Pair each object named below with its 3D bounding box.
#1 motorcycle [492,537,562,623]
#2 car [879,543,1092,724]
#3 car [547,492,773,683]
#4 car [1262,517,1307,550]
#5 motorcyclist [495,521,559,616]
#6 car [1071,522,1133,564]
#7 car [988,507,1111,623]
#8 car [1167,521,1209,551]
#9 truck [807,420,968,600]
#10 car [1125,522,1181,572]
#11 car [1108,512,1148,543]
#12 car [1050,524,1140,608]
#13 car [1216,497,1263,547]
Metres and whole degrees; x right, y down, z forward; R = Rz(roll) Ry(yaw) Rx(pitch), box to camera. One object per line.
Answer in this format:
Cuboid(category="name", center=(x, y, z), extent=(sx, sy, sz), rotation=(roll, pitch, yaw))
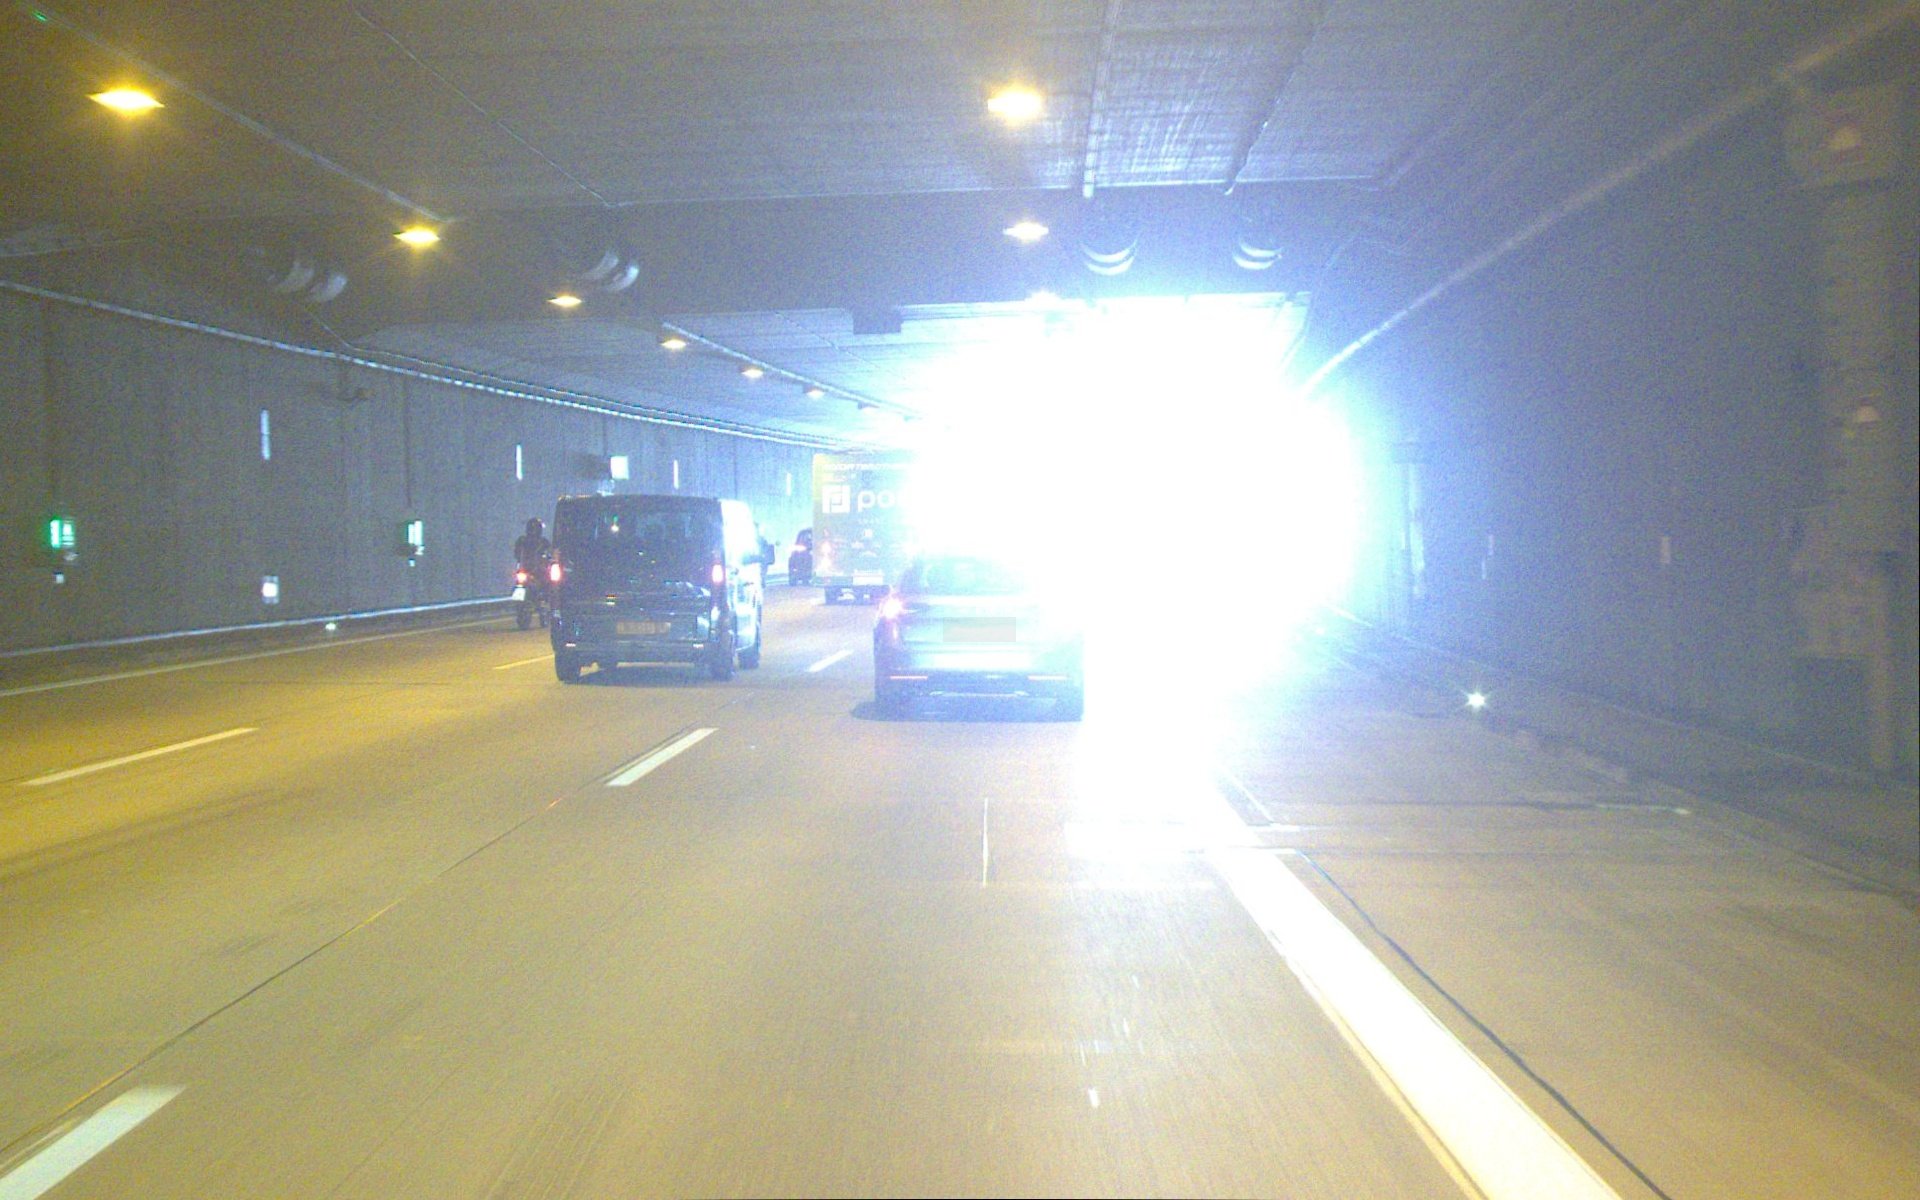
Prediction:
Cuboid(category="motorcycle", center=(-6.740, -0.302, 53.627), extent=(0.683, 1.292, 2.398), rotation=(0, -1, 3))
Cuboid(category="car", center=(0.241, 0.239, 30.170), extent=(1.742, 1.459, 3.871), rotation=(0, 1, 1))
Cuboid(category="car", center=(-3.170, -0.174, 37.011), extent=(1.910, 1.937, 3.871), rotation=(0, 1, 3))
Cuboid(category="car", center=(16.447, -3.341, 174.107), extent=(1.931, 1.637, 3.998), rotation=(0, 1, 10))
Cuboid(category="motorcyclist", center=(-6.748, -0.481, 53.611), extent=(0.777, 1.448, 1.068), rotation=(0, -1, 4))
Cuboid(category="car", center=(5.813, -2.315, 140.316), extent=(1.994, 1.626, 3.998), rotation=(0, 0, 10))
Cuboid(category="car", center=(1.519, -0.594, 56.995), extent=(1.857, 1.848, 4.000), rotation=(0, 1, 4))
Cuboid(category="car", center=(13.509, -3.786, 203.758), extent=(1.931, 1.637, 3.997), rotation=(0, -1, 12))
Cuboid(category="truck", center=(-1.478, -1.895, 74.004), extent=(3.039, 3.660, 7.392), rotation=(0, 1, 2))
Cuboid(category="car", center=(6.885, -1.863, 122.268), extent=(1.931, 1.637, 3.999), rotation=(0, -1, 4))
Cuboid(category="car", center=(9.246, -3.970, 188.980), extent=(1.931, 1.637, 3.999), rotation=(0, 1, 6))
Cuboid(category="car", center=(3.105, -0.751, 78.332), extent=(1.950, 1.766, 3.999), rotation=(0, -1, 3))
Cuboid(category="car", center=(12.338, -3.433, 151.722), extent=(1.994, 2.007, 3.999), rotation=(0, -1, 6))
